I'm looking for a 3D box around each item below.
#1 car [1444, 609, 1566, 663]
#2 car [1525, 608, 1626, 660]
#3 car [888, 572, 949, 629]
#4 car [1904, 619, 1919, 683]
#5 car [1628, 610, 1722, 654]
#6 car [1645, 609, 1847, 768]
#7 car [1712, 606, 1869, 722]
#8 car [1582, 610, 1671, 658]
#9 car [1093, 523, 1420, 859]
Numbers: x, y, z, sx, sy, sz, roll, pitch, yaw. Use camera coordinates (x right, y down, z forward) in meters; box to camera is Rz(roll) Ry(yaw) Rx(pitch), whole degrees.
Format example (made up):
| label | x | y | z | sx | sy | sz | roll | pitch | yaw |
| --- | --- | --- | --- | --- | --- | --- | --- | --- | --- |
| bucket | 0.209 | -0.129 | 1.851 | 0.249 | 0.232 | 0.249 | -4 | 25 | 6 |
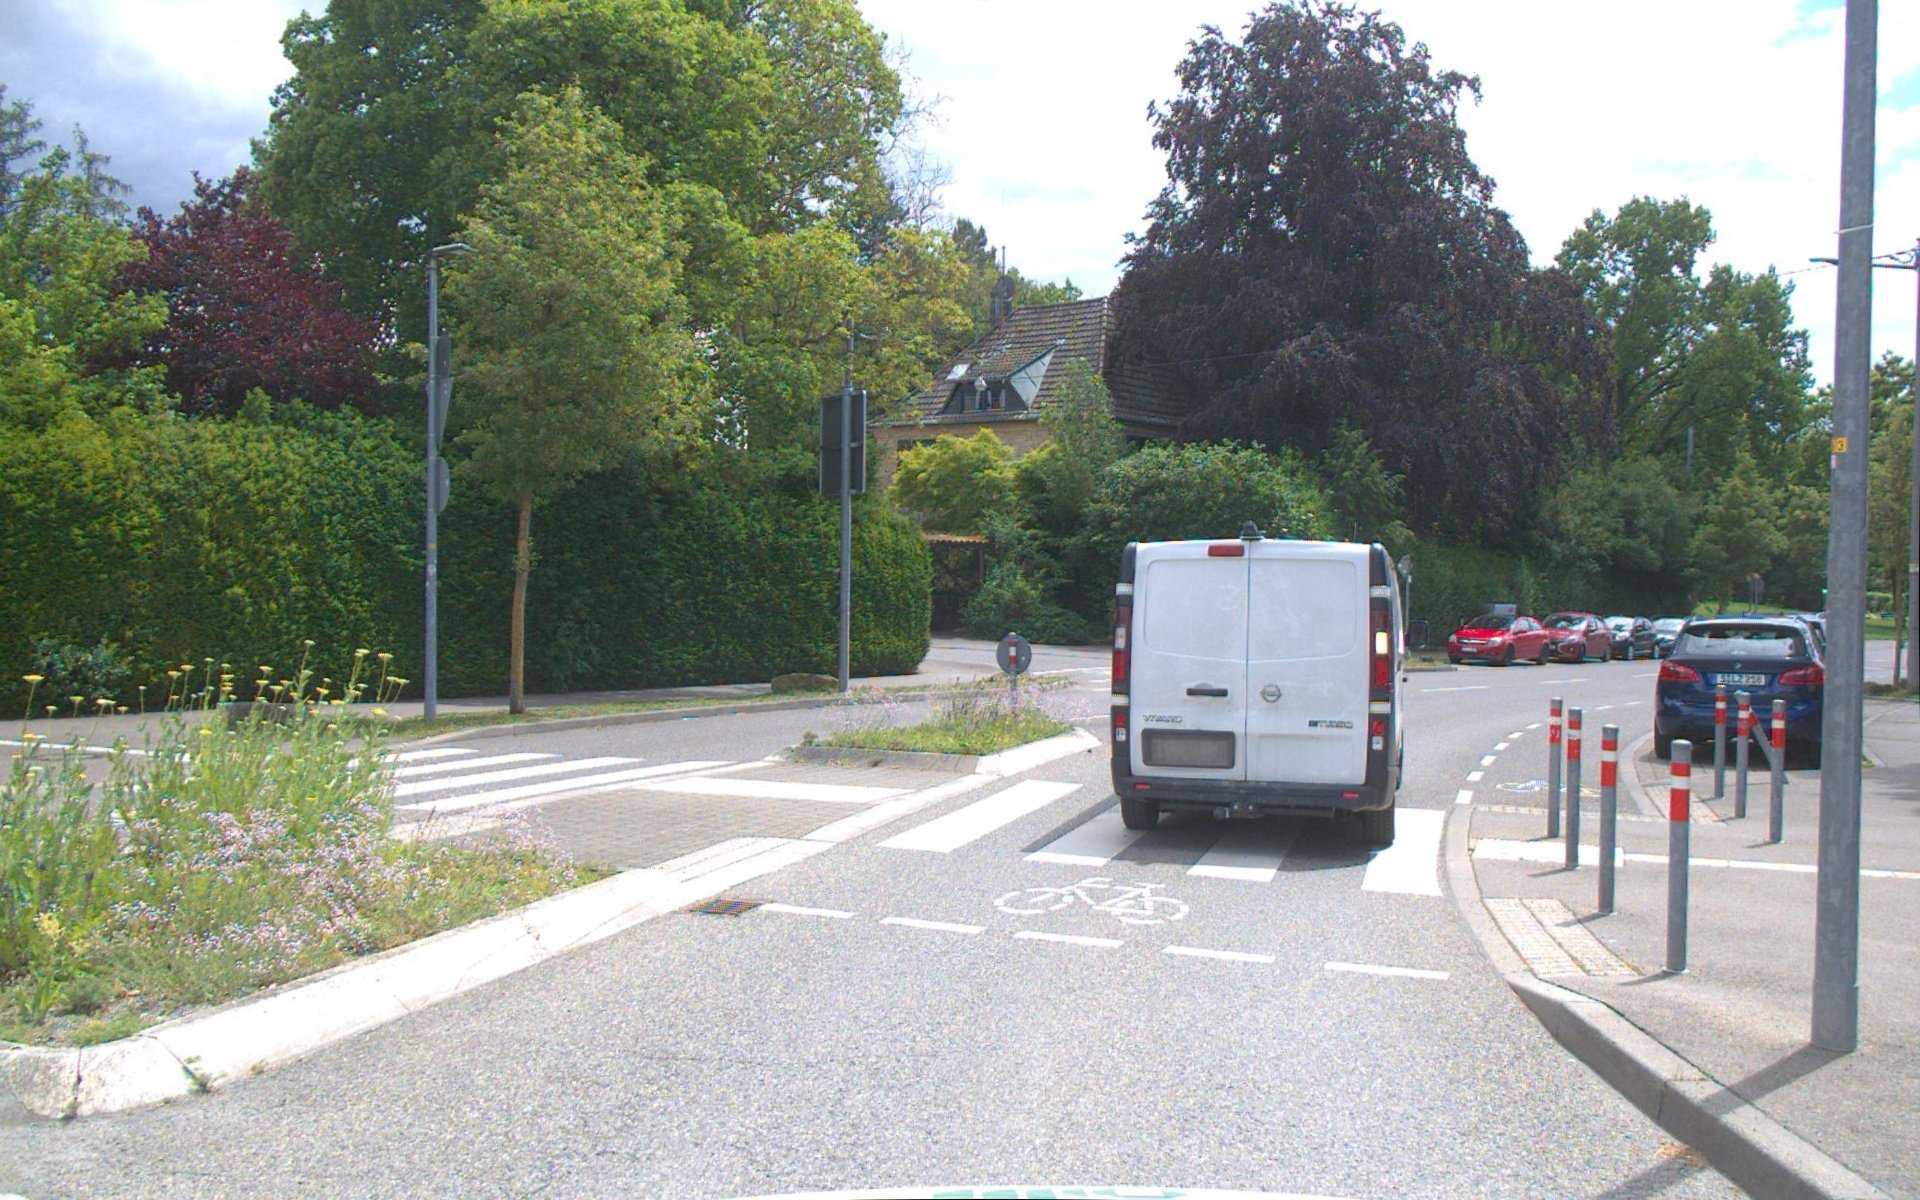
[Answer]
| label | x | y | z | sx | sy | sz | roll | pitch | yaw |
| --- | --- | --- | --- | --- | --- | --- | --- | --- | --- |
| car | 15.715 | 1.021 | 47.561 | 1.636 | 1.402 | 4.539 | 3 | 1 | 41 |
| car | 19.203 | 1.060 | 51.517 | 1.625 | 1.475 | 4.082 | 3 | 1 | 41 |
| car | -1.204 | -0.014 | 48.837 | 1.688 | 1.536 | 4.000 | 2 | 1 | -1 |
| car | 24.644 | 1.232 | 40.632 | 1.737 | 1.503 | 4.910 | -2 | -2 | 39 |
| car | 25.253 | 1.124 | 58.344 | 1.670 | 1.389 | 4.659 | 4 | 2 | 41 |
| car | 9.227 | 0.928 | 19.222 | 1.880 | 1.606 | 4.422 | 0 | -1 | 29 |
| car | 13.249 | 0.945 | 26.246 | 1.844 | 1.650 | 4.835 | 0 | -1 | 31 |
| car | 22.283 | 1.136 | 55.260 | 1.573 | 1.475 | 3.573 | 3 | 1 | 42 |
| car | 2.441 | 0.547 | 12.479 | 1.898 | 1.995 | 4.836 | 1 | 0 | 16 |
